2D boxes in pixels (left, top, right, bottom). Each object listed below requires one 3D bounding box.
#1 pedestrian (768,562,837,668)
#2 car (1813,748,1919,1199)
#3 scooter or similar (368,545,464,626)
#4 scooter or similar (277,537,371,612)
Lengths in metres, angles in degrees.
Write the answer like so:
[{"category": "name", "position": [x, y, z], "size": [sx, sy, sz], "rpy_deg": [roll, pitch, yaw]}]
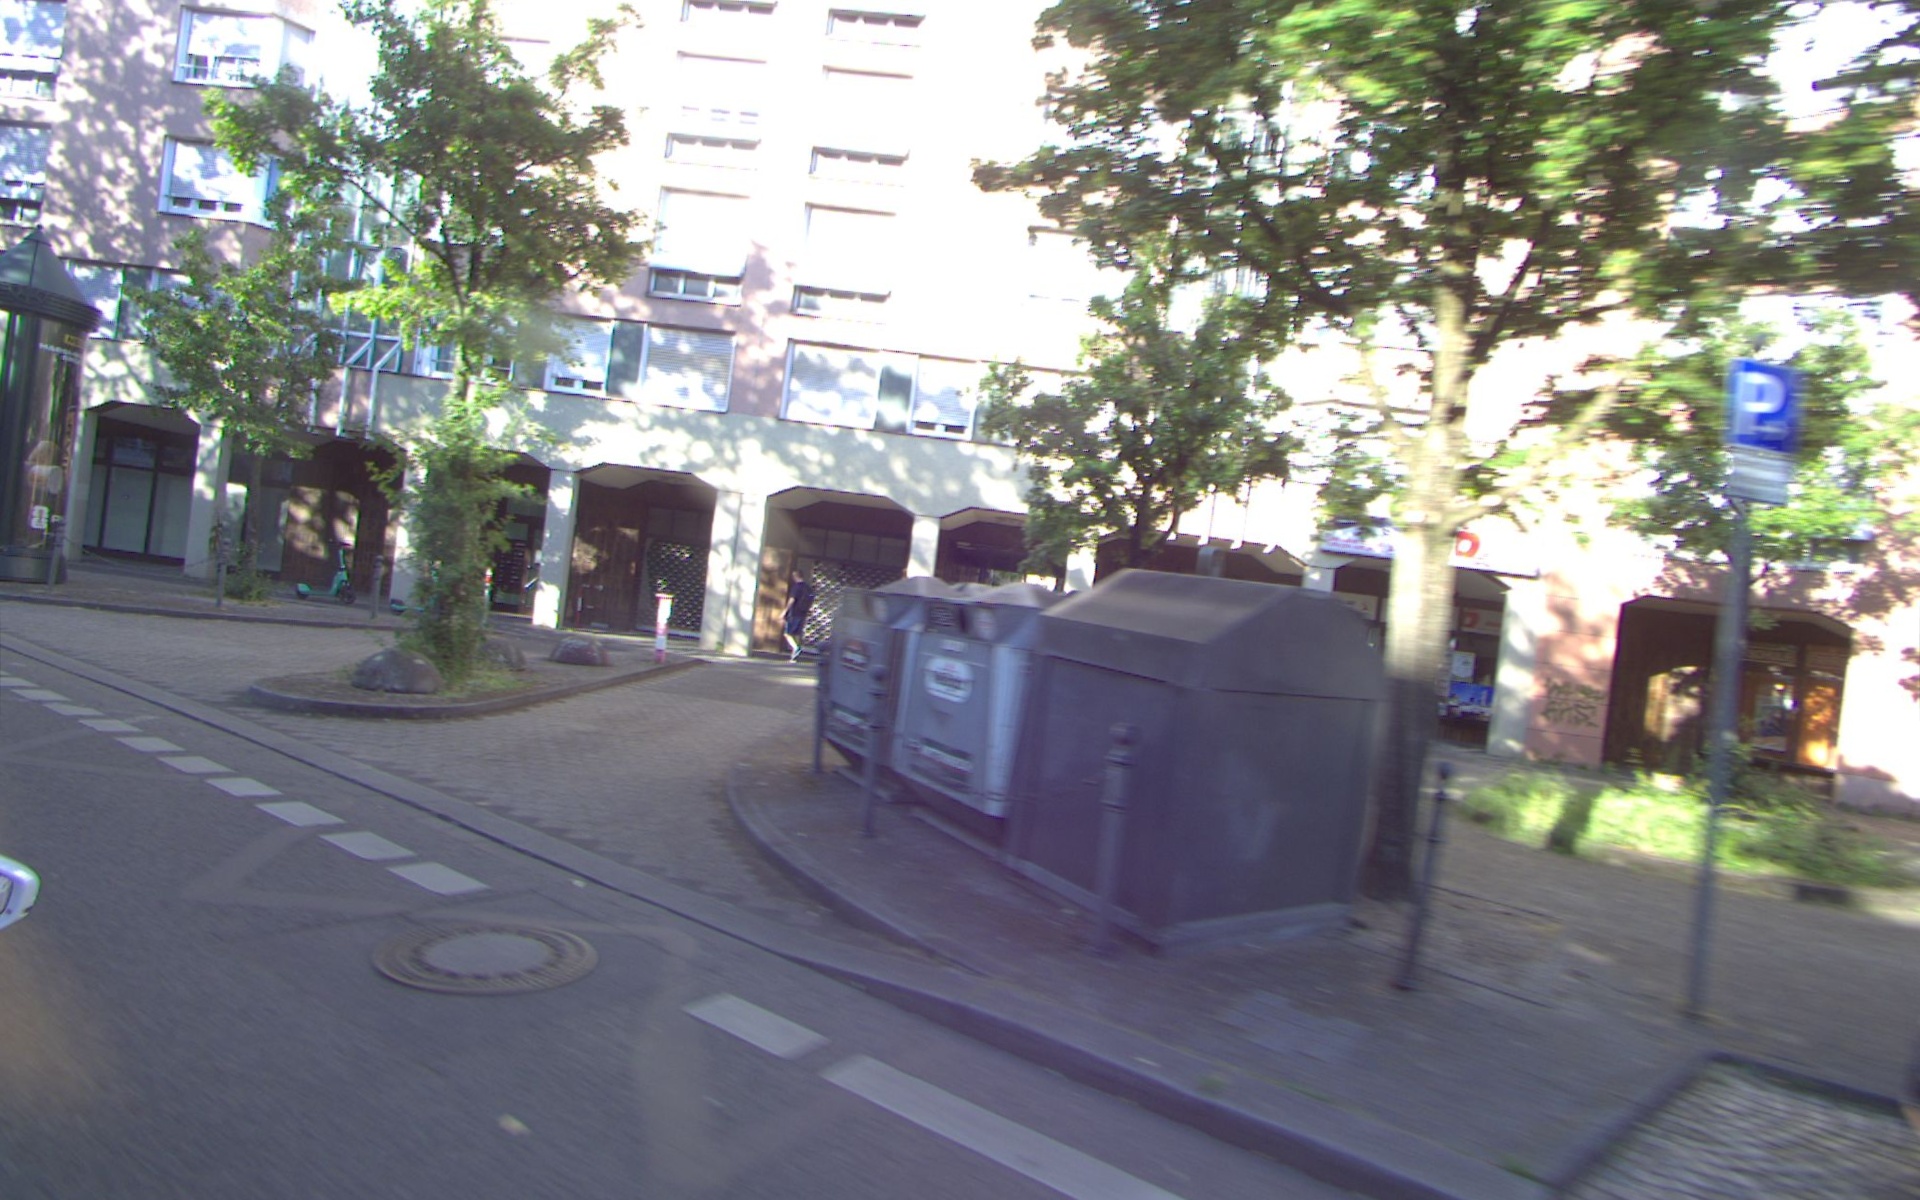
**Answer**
[{"category": "pedestrian", "position": [-3.166, 0.313, 20.262], "size": [0.833, 2.005, 0.817], "rpy_deg": [7, 0, 28]}, {"category": "car", "position": [4.836, 1.494, 2.177], "size": [4.177, 1.502, 1.704], "rpy_deg": [7, 0, 31]}, {"category": "scooter or similar", "position": [-9.980, -0.258, 18.469], "size": [1.423, 1.289, 0.486], "rpy_deg": [7, 0, 8]}, {"category": "scooter or similar", "position": [-12.069, -0.474, 19.097], "size": [1.423, 1.231, 0.486], "rpy_deg": [7, 0, 8]}]
